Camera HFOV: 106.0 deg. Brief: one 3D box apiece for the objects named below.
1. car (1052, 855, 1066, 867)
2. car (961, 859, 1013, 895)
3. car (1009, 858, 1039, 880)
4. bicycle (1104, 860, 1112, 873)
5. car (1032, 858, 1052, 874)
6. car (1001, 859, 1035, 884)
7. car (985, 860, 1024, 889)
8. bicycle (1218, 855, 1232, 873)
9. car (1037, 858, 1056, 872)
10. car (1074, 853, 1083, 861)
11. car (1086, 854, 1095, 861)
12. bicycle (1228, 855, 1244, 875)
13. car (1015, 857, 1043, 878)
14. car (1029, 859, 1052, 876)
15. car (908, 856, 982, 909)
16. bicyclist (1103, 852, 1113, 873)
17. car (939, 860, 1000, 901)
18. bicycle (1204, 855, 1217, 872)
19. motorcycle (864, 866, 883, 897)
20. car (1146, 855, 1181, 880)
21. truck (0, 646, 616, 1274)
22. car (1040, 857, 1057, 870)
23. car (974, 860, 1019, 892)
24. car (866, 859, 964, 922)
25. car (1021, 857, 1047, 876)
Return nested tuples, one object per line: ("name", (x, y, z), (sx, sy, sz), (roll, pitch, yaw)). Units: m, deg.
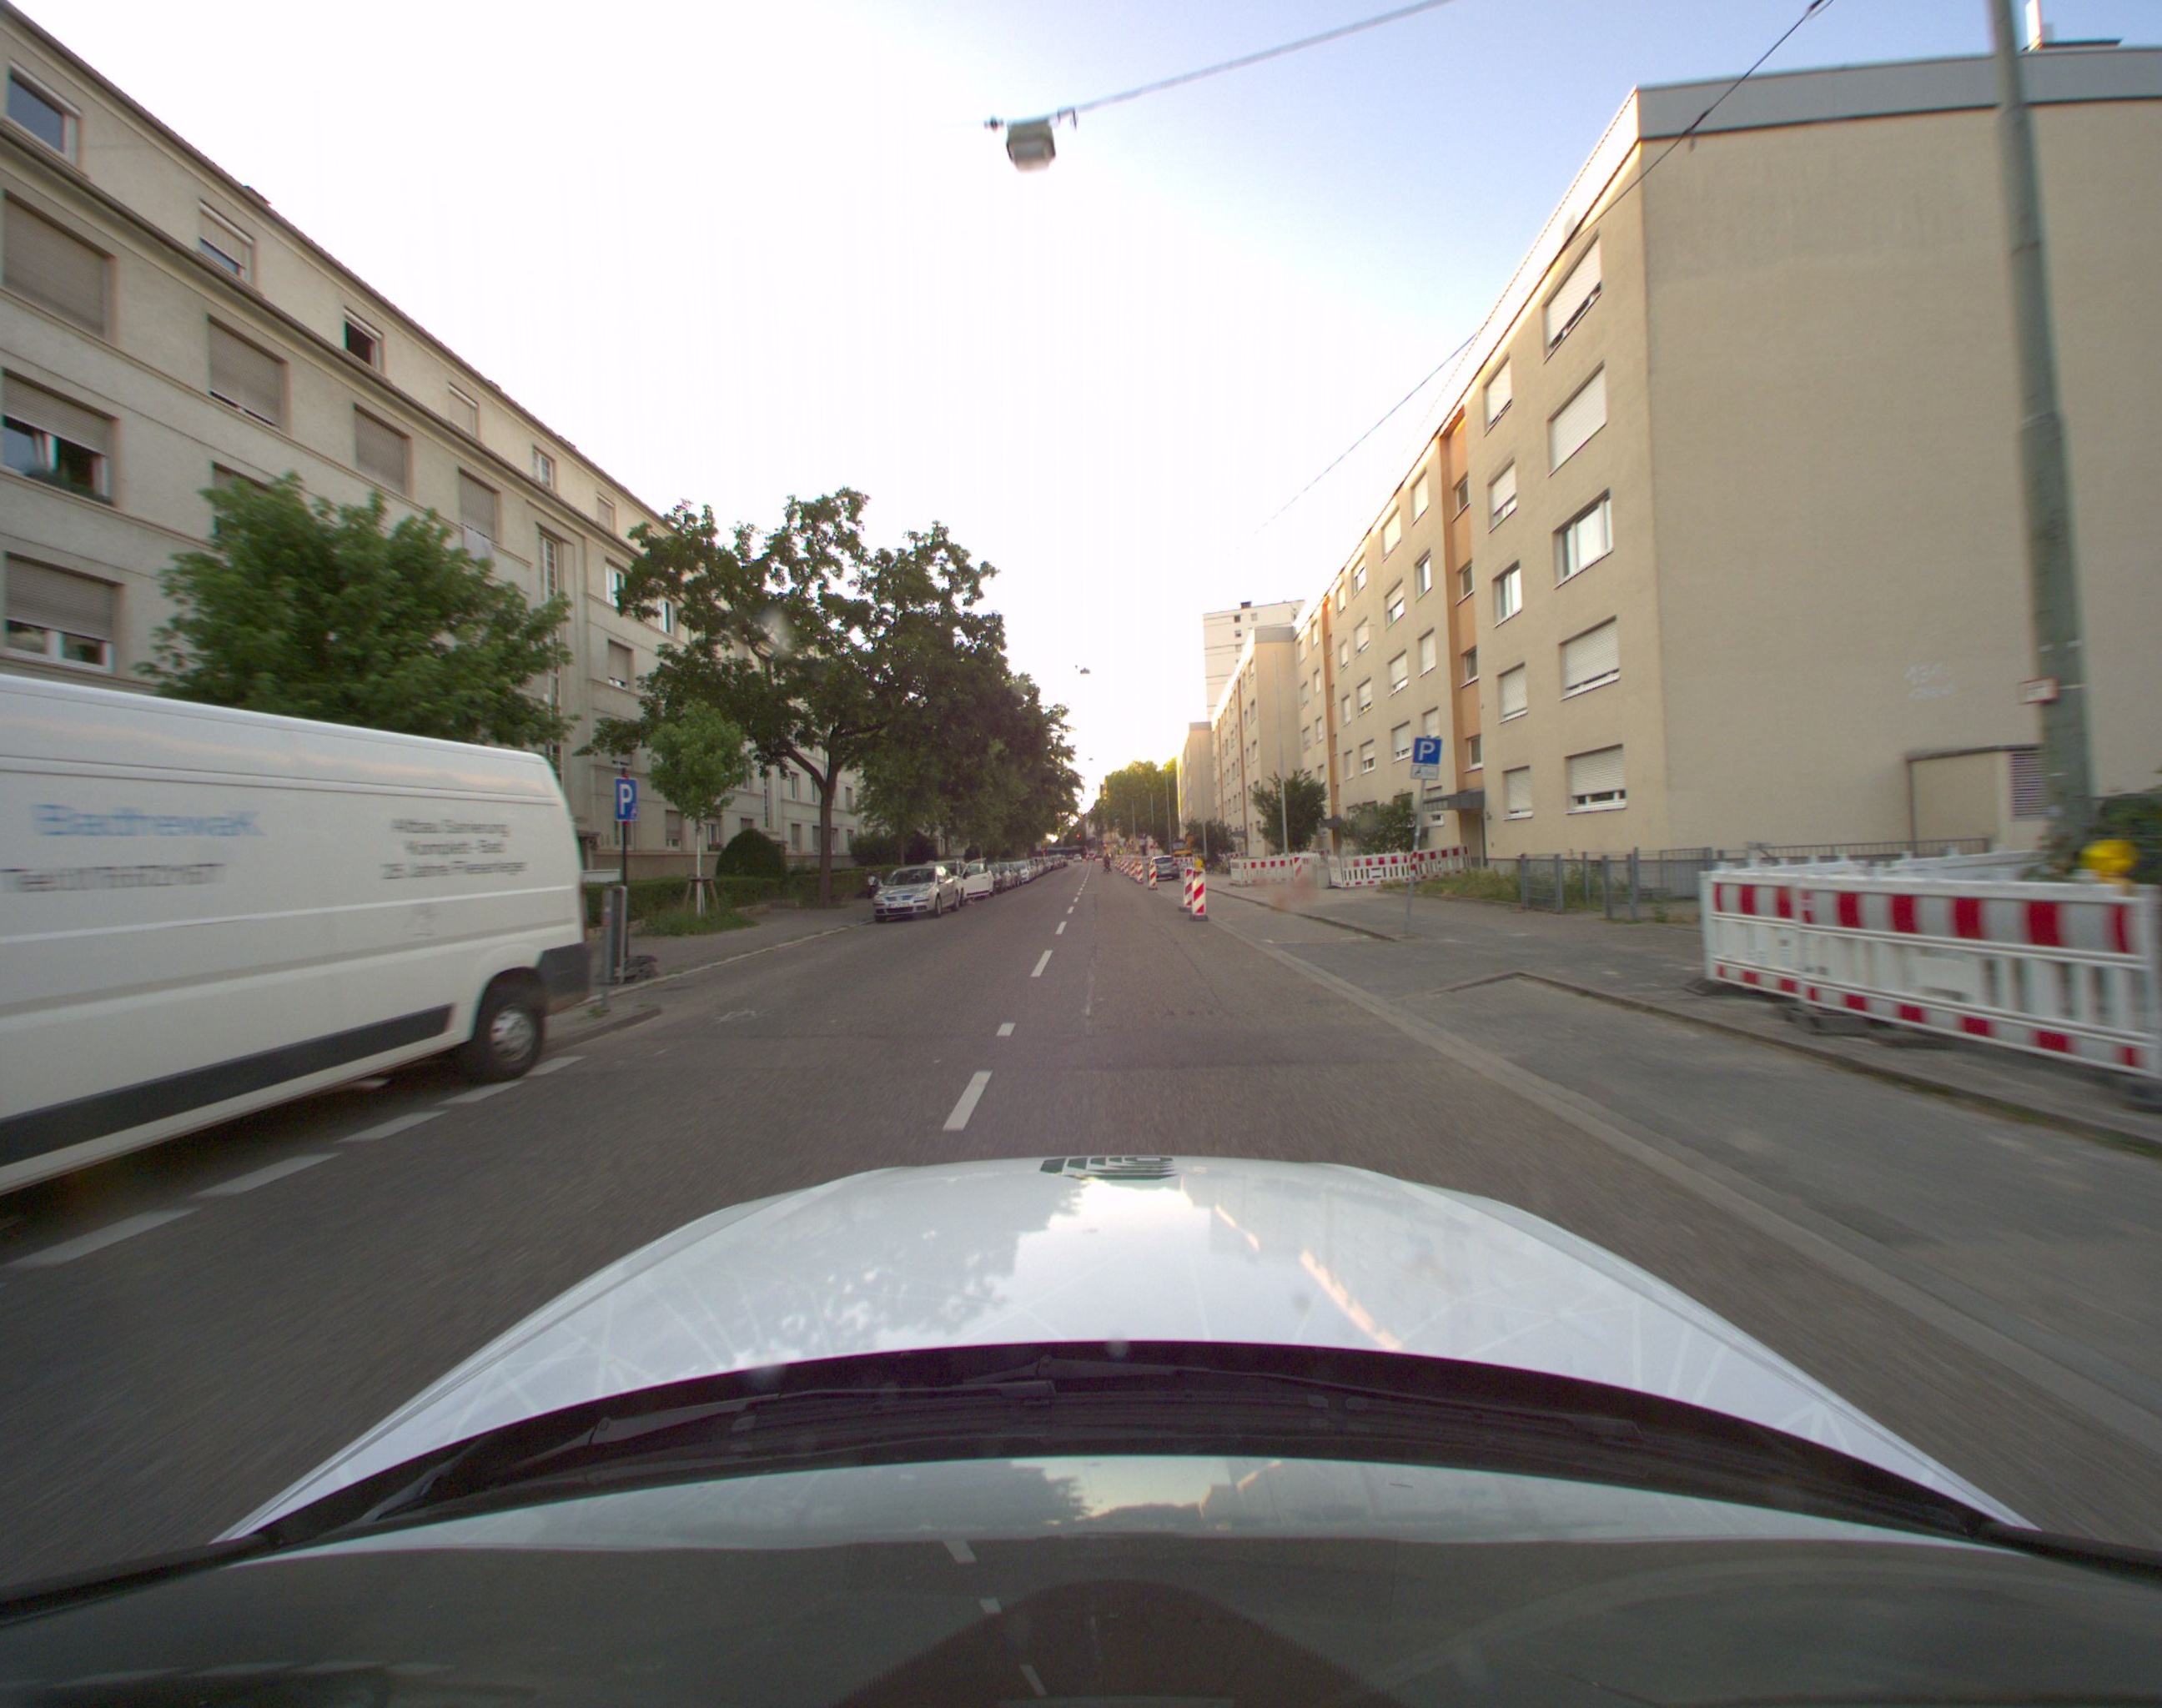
("car", (-3.023, 0.945, 113.272), (1.610, 1.443, 3.455), (-5, 0, 2))
("car", (-4.407, 1.052, 38.581), (1.750, 1.443, 3.929), (-5, 0, 2))
("car", (-4.093, 1.061, 58.970), (1.750, 1.443, 3.455), (-5, 0, 2))
("bicycle", (2.425, 1.115, 72.933), (0.638, 1.115, 3.056), (-3, 0, 2))
("car", (-4.031, 1.224, 84.541), (1.750, 1.443, 3.455), (-5, 0, 2))
("car", (-4.105, 1.100, 53.371), (1.750, 1.443, 3.455), (-5, 0, 2))
("car", (-4.447, 1.164, 47.768), (1.750, 1.443, 3.455), (-5, 0, 2))
("bicycle", (9.618, 0.656, 54.524), (0.614, 1.107, 2.237), (-3, 0, 3))
("car", (-3.805, 1.217, 91.043), (1.750, 1.443, 3.455), (-5, 0, 2))
("car", (-0.444, 0.627, 172.664), (1.751, 1.443, 3.453), (-5, 0, 0))
("car", (2.216, 0.857, 185.020), (1.690, 1.443, 3.451), (-5, 0, -2))
("bicycle", (9.259, 0.658, 48.725), (0.614, 1.107, 2.237), (-3, 0, 3))
("car", (-4.075, 1.067, 64.487), (1.750, 1.443, 3.455), (-5, 0, 2))
("car", (-3.864, 1.252, 77.682), (1.750, 1.443, 3.455), (-5, 0, 2))
("car", (-4.785, 0.968, 29.159), (1.750, 1.604, 3.929), (-5, 0, 2))
("bicyclist", (2.431, 0.751, 73.248), (0.788, 1.800, 1.018), (-3, 0, 1))
("car", (-4.530, 1.043, 33.678), (1.750, 1.443, 3.929), (-5, 0, 2))
("bicycle", (8.759, 0.614, 55.264), (0.614, 1.107, 2.237), (-3, 0, 3))
("motorcycle", (-9.101, 1.196, 35.693), (0.410, 1.332, 1.297), (-3, 0, 2))
("car", (5.038, 0.799, 50.128), (1.773, 1.390, 4.001), (-3, 0, 1))
("truck", (-5.214, 0.461, 4.040), (2.094, 2.423, 6.047), (-4, 0, 1))
("car", (-3.796, 1.107, 95.890), (1.646, 1.443, 3.455), (-5, 0, 2))
("car", (-4.464, 1.125, 43.431), (1.771, 1.424, 3.748), (-6, 0, 2))
("car", (-4.629, 0.971, 23.248), (1.750, 1.483, 3.929), (-5, 0, 2))
("car", (-3.969, 1.055, 69.218), (1.750, 1.443, 3.455), (-5, 0, 2))
